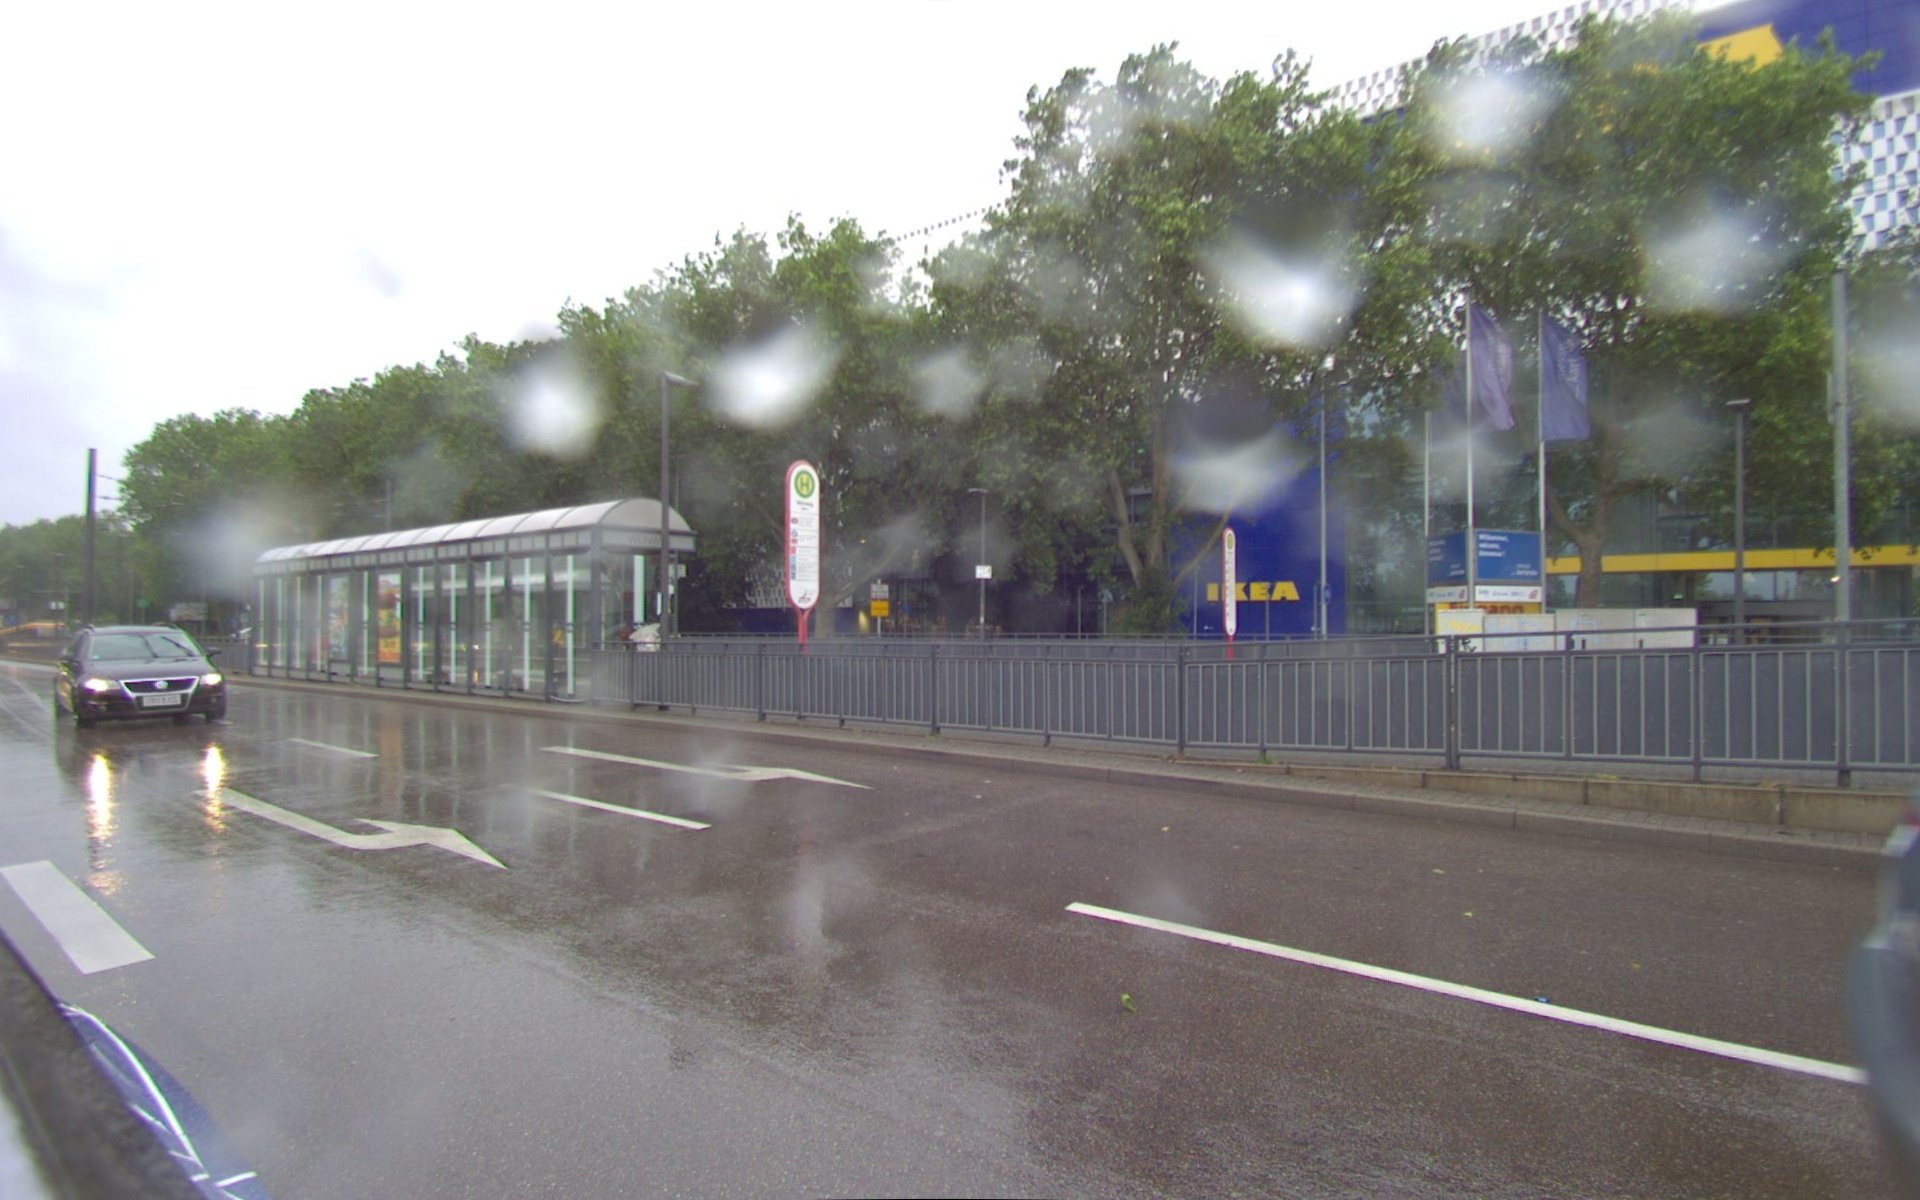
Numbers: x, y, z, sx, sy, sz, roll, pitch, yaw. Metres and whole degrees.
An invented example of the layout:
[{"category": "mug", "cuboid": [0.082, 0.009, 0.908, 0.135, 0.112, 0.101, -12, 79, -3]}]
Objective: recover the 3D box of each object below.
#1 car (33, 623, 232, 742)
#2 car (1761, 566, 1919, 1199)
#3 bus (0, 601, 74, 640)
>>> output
[{"category": "car", "cuboid": [-12.867, 1.141, 15.628, 4.596, 1.512, 1.752, -1, 0, 43]}, {"category": "car", "cuboid": [3.581, 0.640, 0.764, 4.641, 1.409, 1.744, 0, 0, 40]}, {"category": "bus", "cuboid": [-86.859, 1.876, 95.007, 15.045, 3.354, 2.903, -1, 0, 39]}]
